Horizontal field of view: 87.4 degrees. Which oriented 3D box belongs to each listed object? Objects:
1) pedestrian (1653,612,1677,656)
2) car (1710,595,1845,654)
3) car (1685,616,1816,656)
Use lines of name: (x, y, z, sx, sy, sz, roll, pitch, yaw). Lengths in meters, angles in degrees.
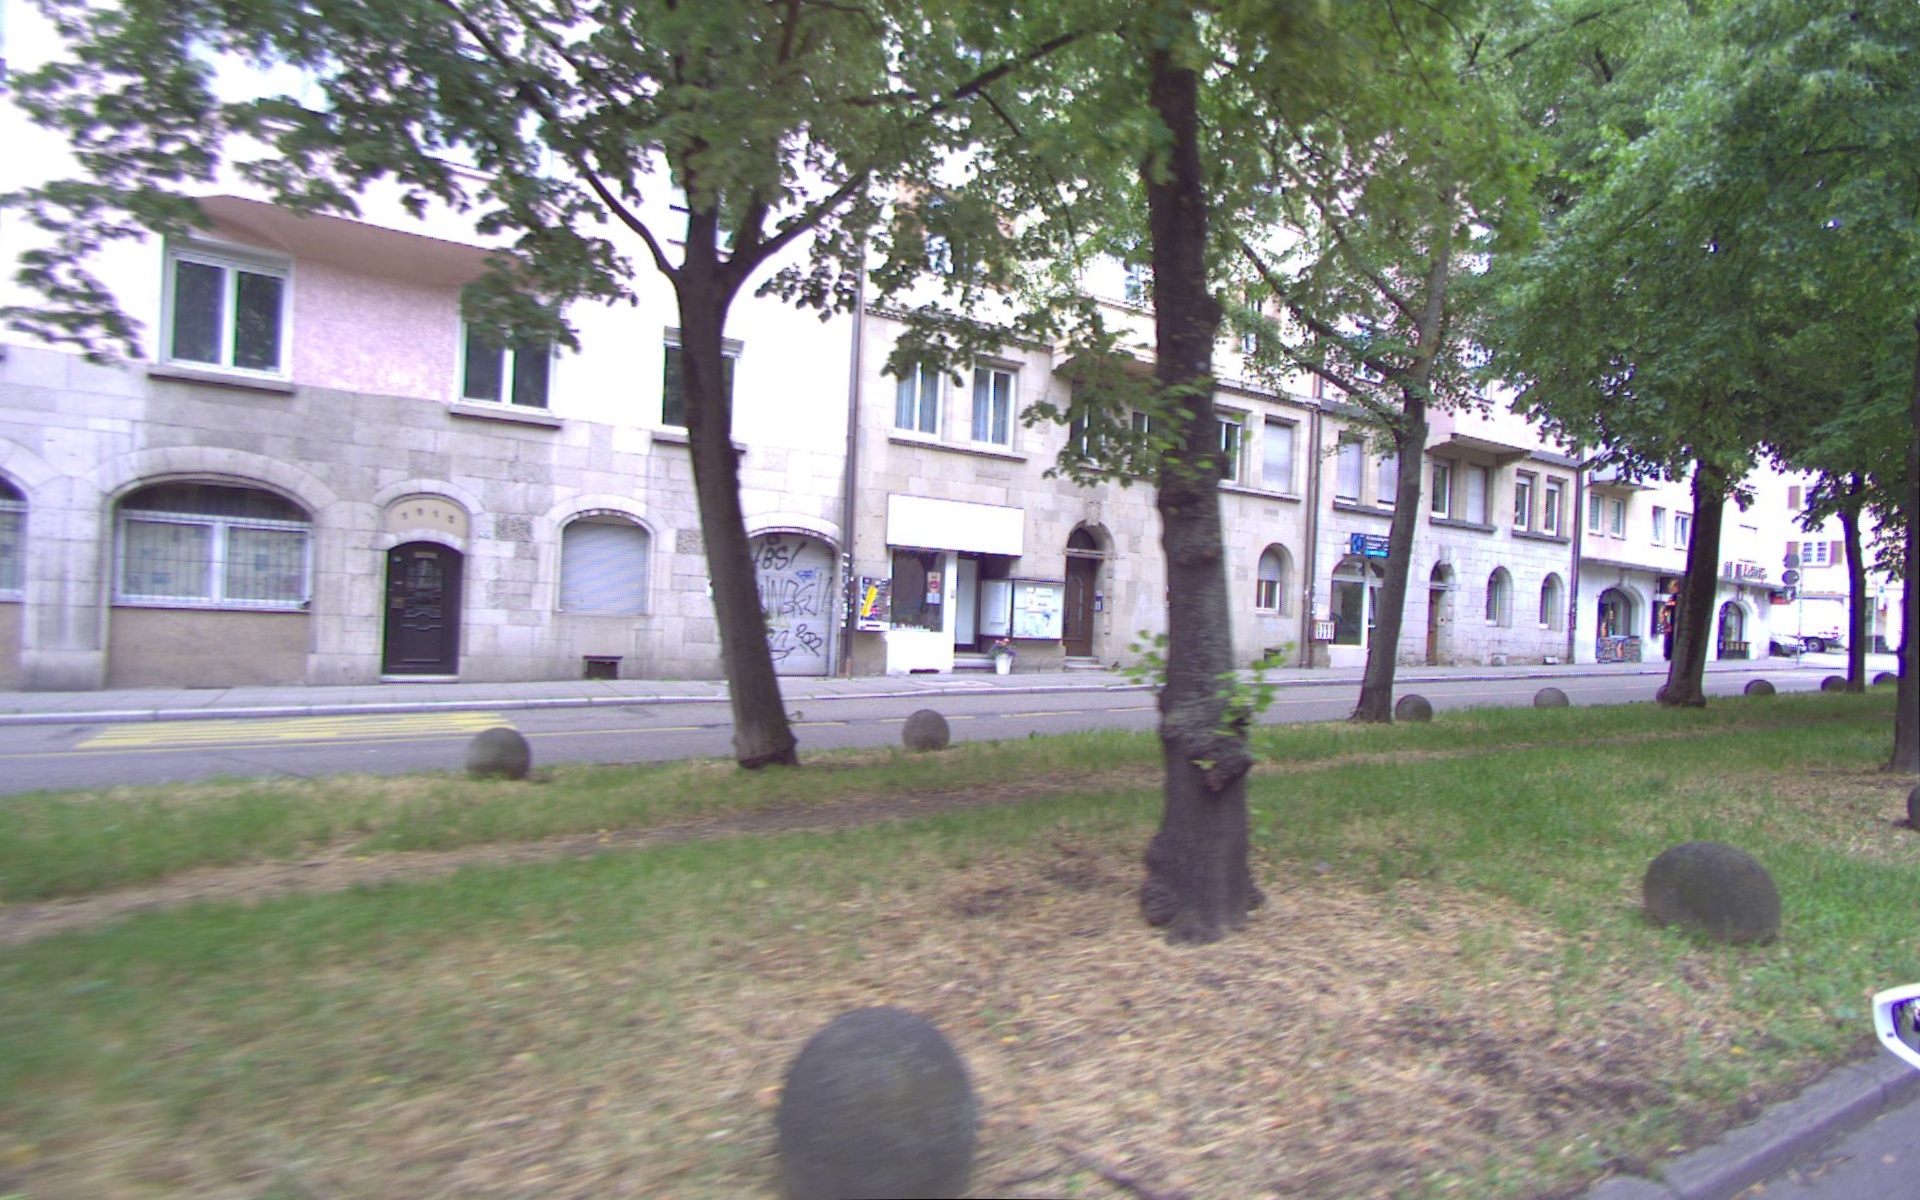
pedestrian: (27.768, 1.338, 39.548, 0.693, 1.688, 0.529, 1, 0, -32)
car: (42.721, 1.256, 52.603, 2.161, 2.773, 5.125, 2, 1, -42)
car: (36.422, 1.620, 46.402, 2.025, 1.439, 4.264, 1, 3, -31)
